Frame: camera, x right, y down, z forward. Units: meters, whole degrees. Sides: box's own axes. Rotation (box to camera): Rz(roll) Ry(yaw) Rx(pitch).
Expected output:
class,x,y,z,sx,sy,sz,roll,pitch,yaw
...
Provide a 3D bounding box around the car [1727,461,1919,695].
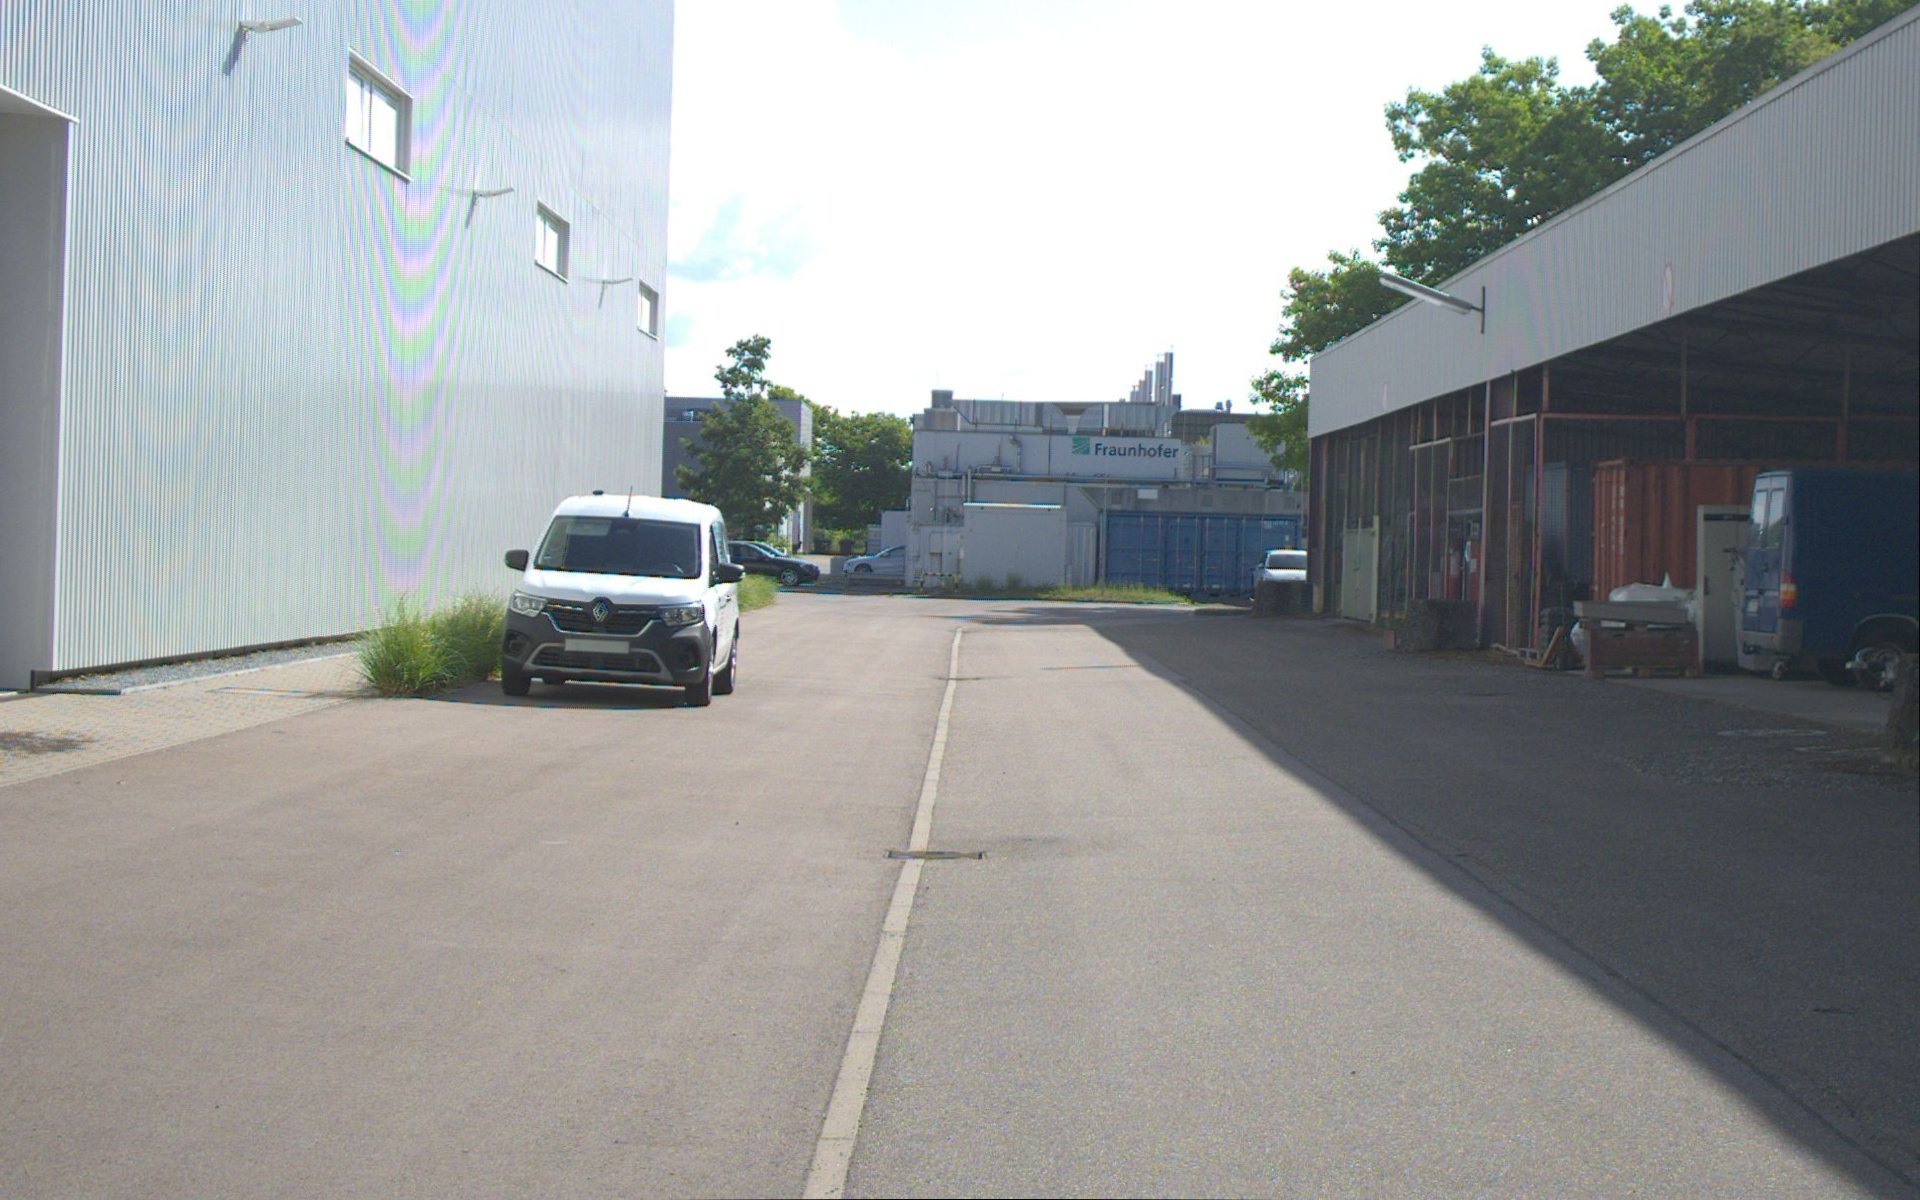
class,x,y,z,sx,sy,sz,roll,pitch,yaw
car,10.499,-0.134,35.993,4.433,2.302,1.915,3,-1,2

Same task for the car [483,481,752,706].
class,x,y,z,sx,sy,sz,roll,pitch,yaw
car,-2.991,-0.103,30.856,1.819,1.781,4.405,3,1,1

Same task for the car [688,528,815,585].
class,x,y,z,sx,sy,sz,roll,pitch,yaw
car,-6.840,-1.426,113.130,3.987,1.592,1.741,3,-1,-1

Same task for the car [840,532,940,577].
class,x,y,z,sx,sy,sz,roll,pitch,yaw
car,-2.856,-1.862,140.955,3.987,1.592,1.848,3,-1,-1

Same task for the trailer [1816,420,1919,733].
class,x,y,z,sx,sy,sz,roll,pitch,yaw
trailer,8.277,-0.150,27.236,2.523,2.390,1.727,2,0,1

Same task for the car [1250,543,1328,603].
class,x,y,z,sx,sy,sz,roll,pitch,yaw
car,9.587,-0.805,100.486,1.962,1.559,4.059,3,2,2
